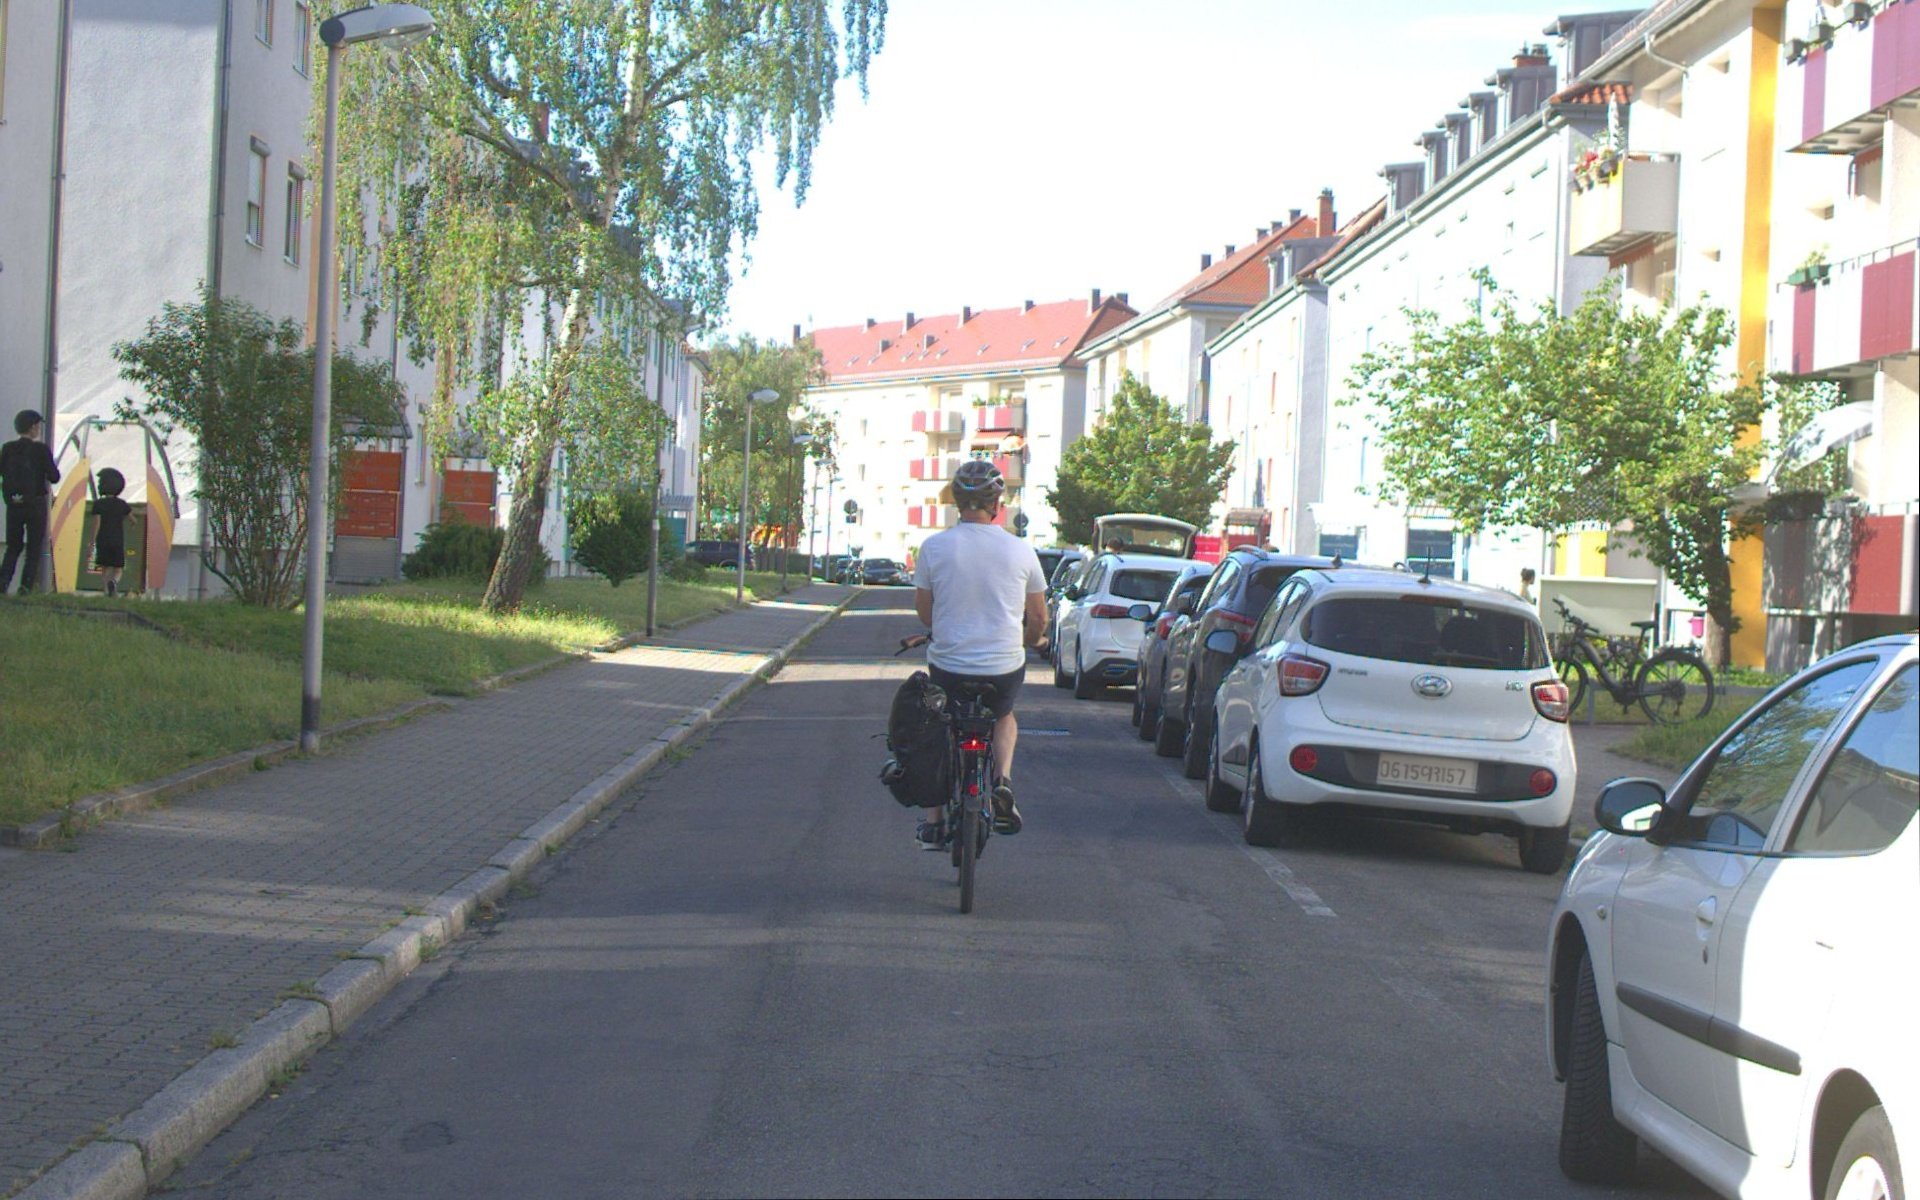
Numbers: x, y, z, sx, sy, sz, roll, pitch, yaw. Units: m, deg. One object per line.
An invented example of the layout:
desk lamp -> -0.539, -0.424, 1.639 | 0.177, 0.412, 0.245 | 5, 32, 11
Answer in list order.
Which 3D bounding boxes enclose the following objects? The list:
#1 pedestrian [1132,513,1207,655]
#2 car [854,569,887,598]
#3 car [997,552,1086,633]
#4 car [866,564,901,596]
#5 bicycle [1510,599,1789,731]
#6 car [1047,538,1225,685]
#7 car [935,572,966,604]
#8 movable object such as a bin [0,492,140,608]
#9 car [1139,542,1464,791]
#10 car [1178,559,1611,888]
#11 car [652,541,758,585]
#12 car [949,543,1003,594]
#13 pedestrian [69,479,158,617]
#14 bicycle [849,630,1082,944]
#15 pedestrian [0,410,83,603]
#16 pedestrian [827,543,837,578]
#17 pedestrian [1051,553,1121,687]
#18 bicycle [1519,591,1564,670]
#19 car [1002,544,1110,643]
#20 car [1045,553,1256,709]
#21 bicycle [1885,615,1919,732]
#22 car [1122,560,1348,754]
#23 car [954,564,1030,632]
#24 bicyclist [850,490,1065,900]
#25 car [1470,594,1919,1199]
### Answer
pedestrian -> 2.521, -0.194, 41.487 | 0.819, 1.681, 0.604 | 1, 1, -1
car -> -4.303, -0.787, 164.476 | 1.469, 1.331, 3.141 | 1, 1, -3
car -> 1.596, -0.174, 68.464 | 1.641, 1.493, 4.156 | 2, 1, 0
car -> -3.548, -0.930, 159.922 | 1.469, 1.331, 3.141 | 3, 1, -3
bicycle -> 6.361, 0.593, 31.827 | 2.424, 1.126, 0.879 | 2, 1, 5
car -> 2.170, 0.100, 43.613 | 1.994, 1.607, 4.995 | 4, 1, 1
car -> -0.508, -0.626, 176.557 | 1.381, 1.492, 3.077 | 3, 1, -3
movable object such as a bin -> -11.170, -0.627, 43.135 | 1.387, 1.331, 1.228 | 4, 1, -1
car -> 2.327, 0.401, 24.453 | 1.723, 1.573, 4.353 | 2, 1, -2
car -> 2.324, 0.606, 19.340 | 1.713, 1.504, 3.854 | 5, 1, -2
car -> -10.480, -1.522, 141.322 | 4.231, 1.633, 1.583 | 2, 1, -4
car -> 0.573, -1.175, 127.424 | 1.674, 1.733, 3.943 | 3, 1, -3
pedestrian -> -8.265, -0.510, 33.599 | 0.686, 1.312, 0.575 | 2, 0, 0
bicycle -> -0.012, 0.719, 14.105 | 0.808, 1.124, 2.102 | 2, 1, -3
pedestrian -> -8.931, -0.894, 32.951 | 0.806, 1.817, 0.718 | 2, 0, 0
pedestrian -> -5.814, -1.788, 156.187 | 0.434, 1.569, 0.543 | 2, 1, -1
pedestrian -> 1.508, 0.229, 41.229 | 0.739, 1.569, 0.880 | 2, 1, -1
bicycle -> 8.274, 0.434, 48.952 | 0.403, 1.083, 1.299 | 1, 1, 0
car -> 1.738, -0.146, 63.367 | 1.783, 1.642, 4.469 | 4, 1, 0
car -> 2.007, 0.289, 37.473 | 1.772, 1.499, 4.481 | 3, 1, -3
bicycle -> 9.025, 0.683, 31.412 | 0.520, 1.045, 2.288 | 0, 1, 0
car -> 2.311, 0.438, 29.695 | 1.647, 1.444, 4.060 | 4, 1, 2
car -> 0.841, -0.066, 92.955 | 1.862, 1.662, 4.127 | 4, 1, -1
bicyclist -> -0.024, 0.380, 14.338 | 0.808, 1.638, 0.899 | 2, 1, -3
car -> 2.344, 0.786, 7.311 | 1.690, 1.413, 4.098 | 5, 1, -2
